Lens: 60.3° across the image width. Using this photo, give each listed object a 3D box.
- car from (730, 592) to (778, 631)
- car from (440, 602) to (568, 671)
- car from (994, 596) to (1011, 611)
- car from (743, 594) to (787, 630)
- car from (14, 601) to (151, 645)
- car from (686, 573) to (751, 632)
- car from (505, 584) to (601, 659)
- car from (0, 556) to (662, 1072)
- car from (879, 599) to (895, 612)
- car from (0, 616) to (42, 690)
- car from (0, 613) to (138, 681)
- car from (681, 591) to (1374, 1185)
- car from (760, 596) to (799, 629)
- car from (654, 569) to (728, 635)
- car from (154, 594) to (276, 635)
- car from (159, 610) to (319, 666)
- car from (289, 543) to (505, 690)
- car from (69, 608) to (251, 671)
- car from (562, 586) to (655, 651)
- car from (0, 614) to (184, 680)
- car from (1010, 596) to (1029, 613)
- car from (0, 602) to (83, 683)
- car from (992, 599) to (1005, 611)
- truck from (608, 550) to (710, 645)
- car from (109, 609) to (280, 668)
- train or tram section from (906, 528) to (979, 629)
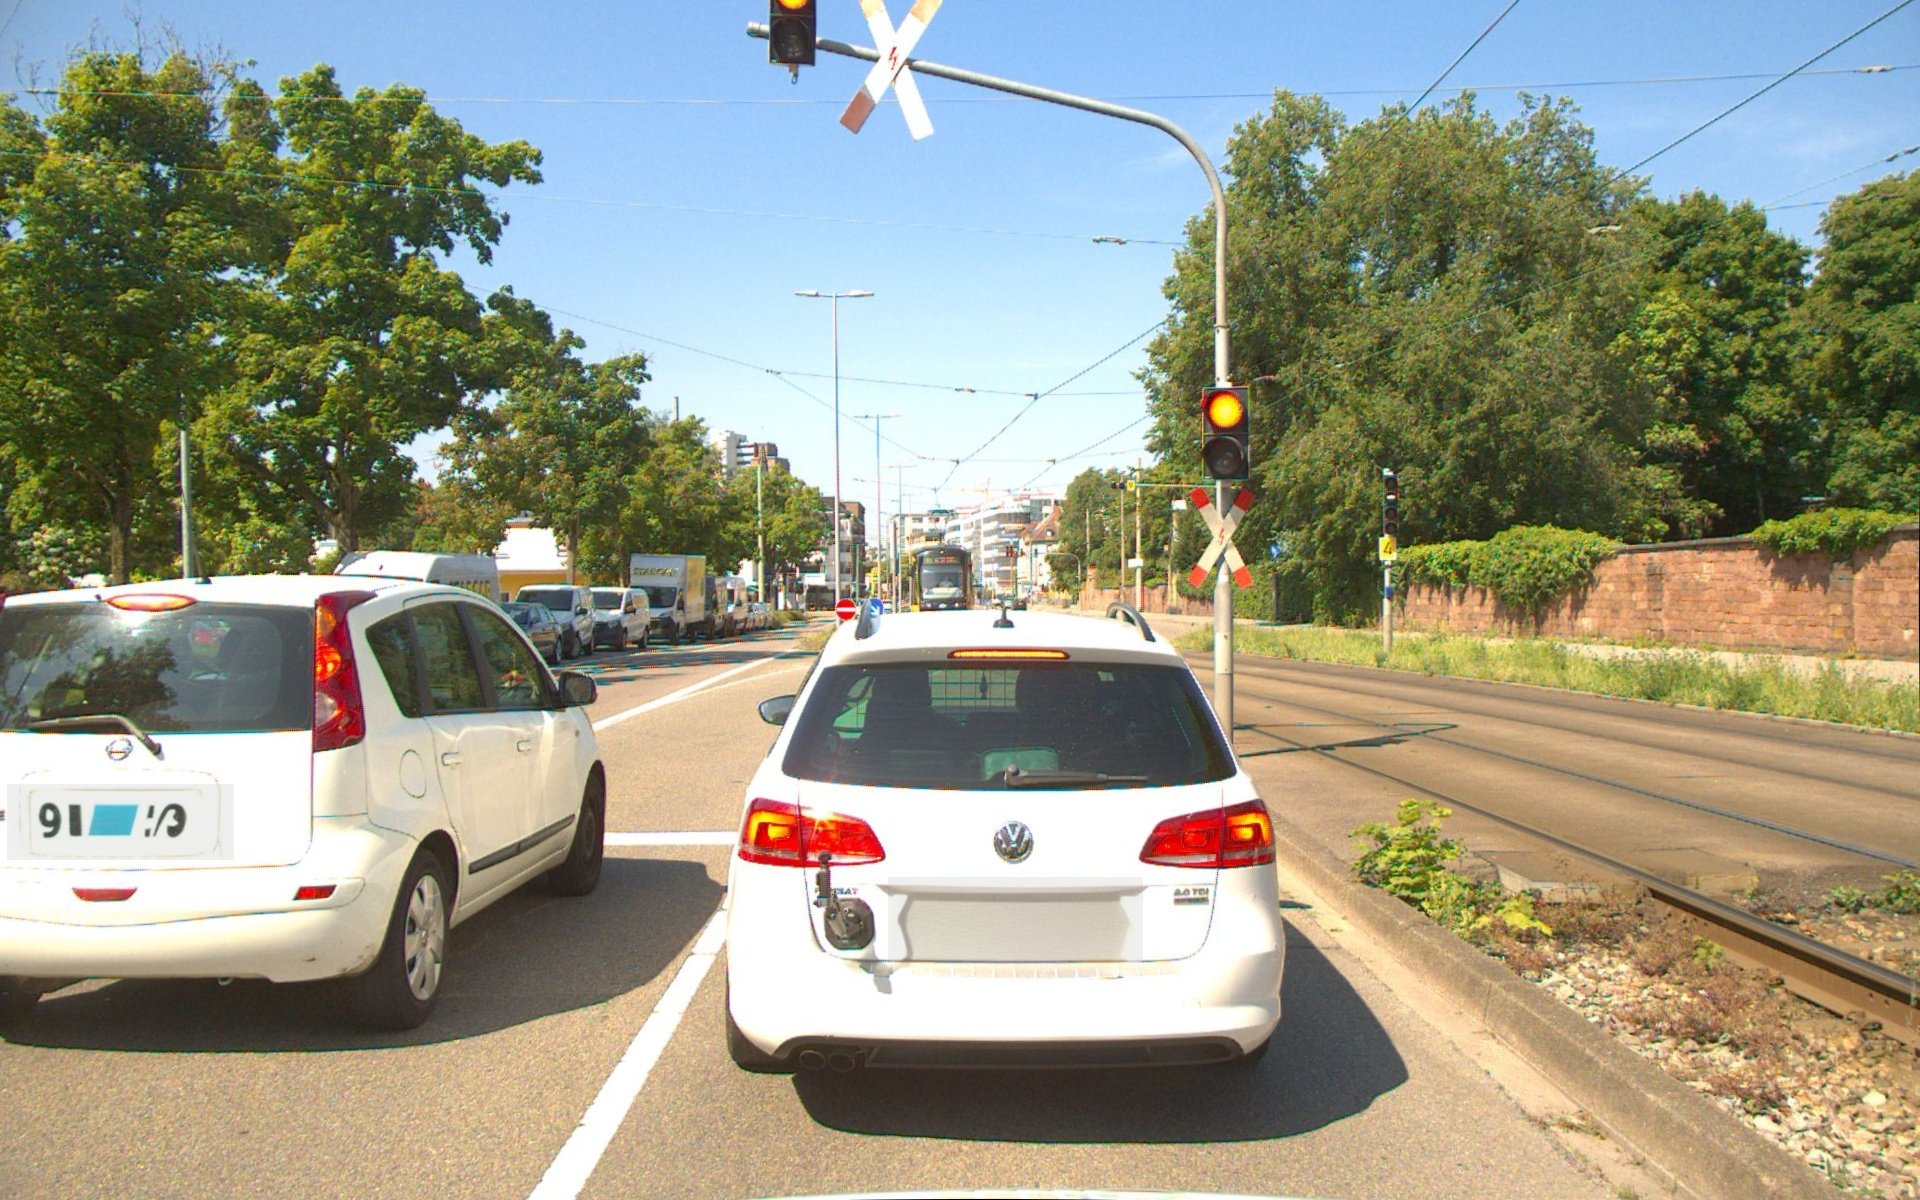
[{"bbox_3d":[-10.494,0.539,84.692,1.826,1.900,5.412,1,0,-1],"label":"car"},{"bbox_3d":[-10.524,0.803,38.473,1.826,1.440,4.278,1,0,-1],"label":"car"},{"bbox_3d":[5.361,0.425,207.255,1.826,1.900,5.060,1,0,-2],"label":"car"},{"bbox_3d":[-10.764,0.625,91.502,1.826,1.900,5.412,1,0,-1],"label":"car"},{"bbox_3d":[-37.815,0.982,71.369,4.698,1.819,2.062,1,0,-5],"label":"car"},{"bbox_3d":[-10.990,0.098,75.577,2.079,2.560,5.733,1,0,0],"label":"car"},{"bbox_3d":[-11.027,0.530,45.129,1.828,1.900,5.068,1,0,-6],"label":"car"},{"bbox_3d":[-2.549,0.642,7.320,1.628,1.575,4.546,0,0,0],"label":"car"},{"bbox_3d":[-8.912,0.653,202.805,1.670,1.499,4.589,-1,0,0],"label":"car"},{"bbox_3d":[-20.733,1.122,32.902,3.909,1.440,1.728,-2,0,-5],"label":"car"},{"bbox_3d":[-21.618,1.115,38.628,3.909,1.440,1.728,-2,0,-5],"label":"car"},{"bbox_3d":[0.146,0.715,6.189,1.726,1.455,3.999,-1,0,-1],"label":"car"},{"bbox_3d":[-10.712,0.710,98.419,1.826,1.900,5.412,1,0,-1],"label":"car"},{"bbox_3d":[-11.012,0.064,68.141,2.079,2.560,5.733,1,0,0],"label":"car"},{"bbox_3d":[-34.405,0.666,76.501,4.698,1.819,2.062,1,0,-5],"label":"car"},{"bbox_3d":[-21.278,1.102,48.923,3.909,1.440,1.728,-2,0,-5],"label":"car"},{"bbox_3d":[-10.747,0.276,32.123,2.079,2.560,5.817,1,0,1],"label":"car"},{"bbox_3d":[-21.112,1.025,43.777,3.909,1.440,1.728,-2,0,-5],"label":"car"},{"bbox_3d":[-10.907,0.529,51.720,1.826,1.900,5.412,1,0,-1],"label":"car"},{"bbox_3d":[-21.732,1.167,41.205,3.909,1.440,1.728,-2,0,-5],"label":"car"},{"bbox_3d":[6.955,0.484,192.833,1.826,1.900,5.060,1,0,-2],"label":"car"},{"bbox_3d":[-21.078,0.962,35.111,3.909,1.638,1.728,-2,0,-5],"label":"car"},{"bbox_3d":[6.118,0.773,262.530,1.826,1.900,5.060,1,0,-2],"label":"car"},{"bbox_3d":[-10.850,-0.110,60.144,2.371,3.205,6.996,1,0,0],"label":"truck"},{"bbox_3d":[-21.290,1.057,46.105,3.909,1.440,1.728,-2,0,-5],"label":"car"},{"bbox_3d":[-0.686,-0.891,71.837,2.812,3.923,12.391,-1,0,0],"label":"train or tram section"}]
